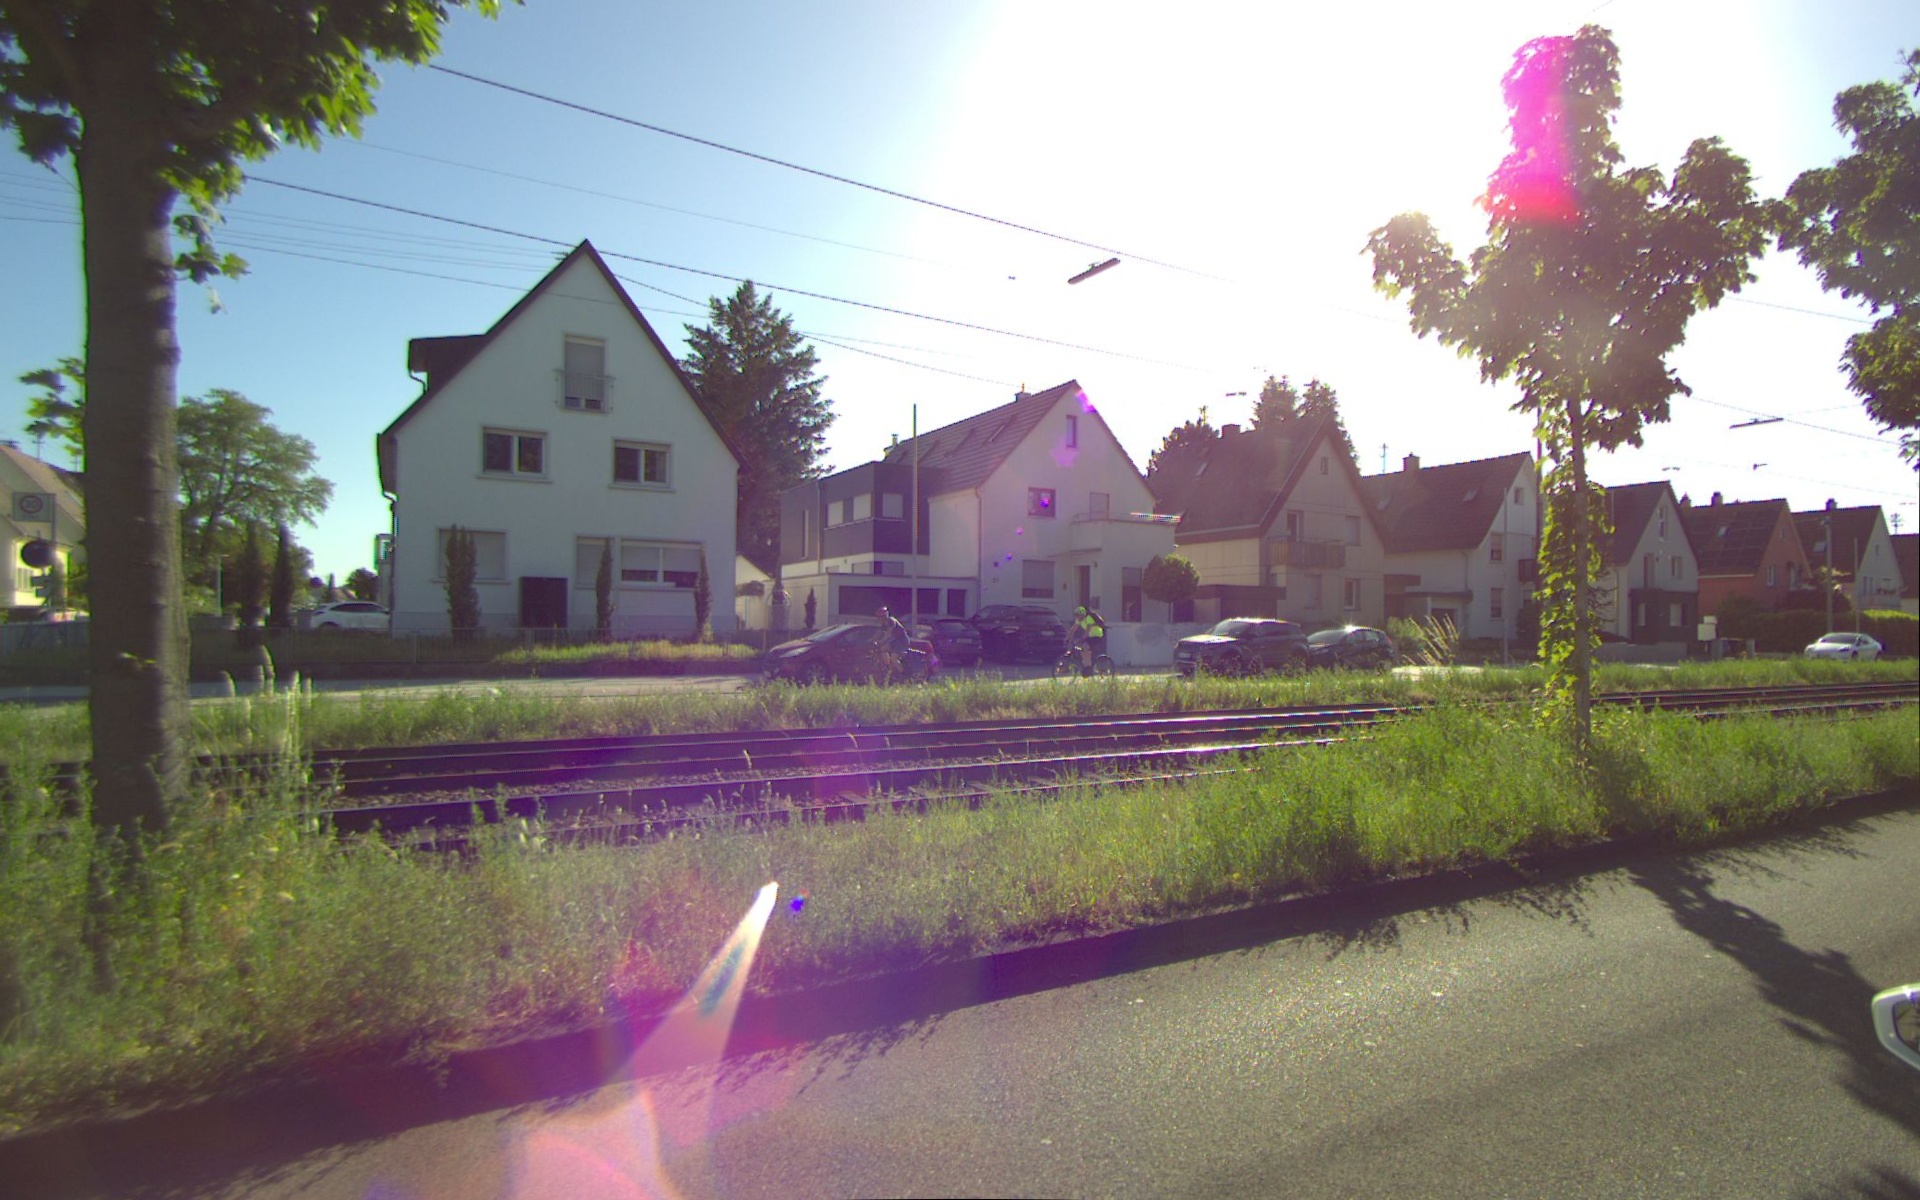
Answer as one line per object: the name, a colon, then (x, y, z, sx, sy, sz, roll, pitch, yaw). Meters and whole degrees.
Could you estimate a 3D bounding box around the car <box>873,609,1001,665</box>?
car: (-0.770, 1.070, 30.230, 1.917, 1.483, 4.188, 2, 0, -33)

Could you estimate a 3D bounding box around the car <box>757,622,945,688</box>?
car: (-2.429, 1.226, 22.666, 3.951, 1.344, 1.487, 2, 0, -29)

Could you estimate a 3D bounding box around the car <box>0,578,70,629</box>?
car: (-40.122, 0.107, 41.747, 4.282, 2.040, 1.985, 2, 0, -29)

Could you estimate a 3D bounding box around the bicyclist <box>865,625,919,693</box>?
bicyclist: (-1.396, 1.190, 20.496, 0.871, 1.354, 0.685, 1, -1, -30)

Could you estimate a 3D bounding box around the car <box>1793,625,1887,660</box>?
car: (44.686, 2.173, 50.977, 4.670, 1.620, 1.986, 2, 0, -27)

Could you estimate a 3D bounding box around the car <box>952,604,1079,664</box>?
car: (1.676, 1.024, 31.483, 1.979, 1.691, 3.963, 2, 0, -33)

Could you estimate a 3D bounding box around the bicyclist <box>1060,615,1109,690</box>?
bicyclist: (2.849, 1.189, 23.024, 0.871, 1.674, 0.685, 1, -1, -30)

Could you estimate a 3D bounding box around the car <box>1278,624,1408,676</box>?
car: (11.755, 1.526, 30.782, 3.942, 1.470, 1.606, 2, 0, -30)

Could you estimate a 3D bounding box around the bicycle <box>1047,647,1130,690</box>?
bicycle: (2.970, 1.559, 23.066, 2.071, 0.940, 0.396, 1, -1, -30)

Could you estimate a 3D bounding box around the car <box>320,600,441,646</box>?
car: (-23.272, 0.935, 40.498, 3.942, 1.799, 1.990, 1, -1, -22)

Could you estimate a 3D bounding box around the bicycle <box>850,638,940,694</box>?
bicycle: (-1.322, 1.335, 20.566, 1.857, 1.084, 0.396, 1, -1, -30)

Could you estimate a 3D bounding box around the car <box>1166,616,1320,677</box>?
car: (8.111, 1.324, 28.670, 4.333, 1.589, 1.637, 2, 0, -29)
